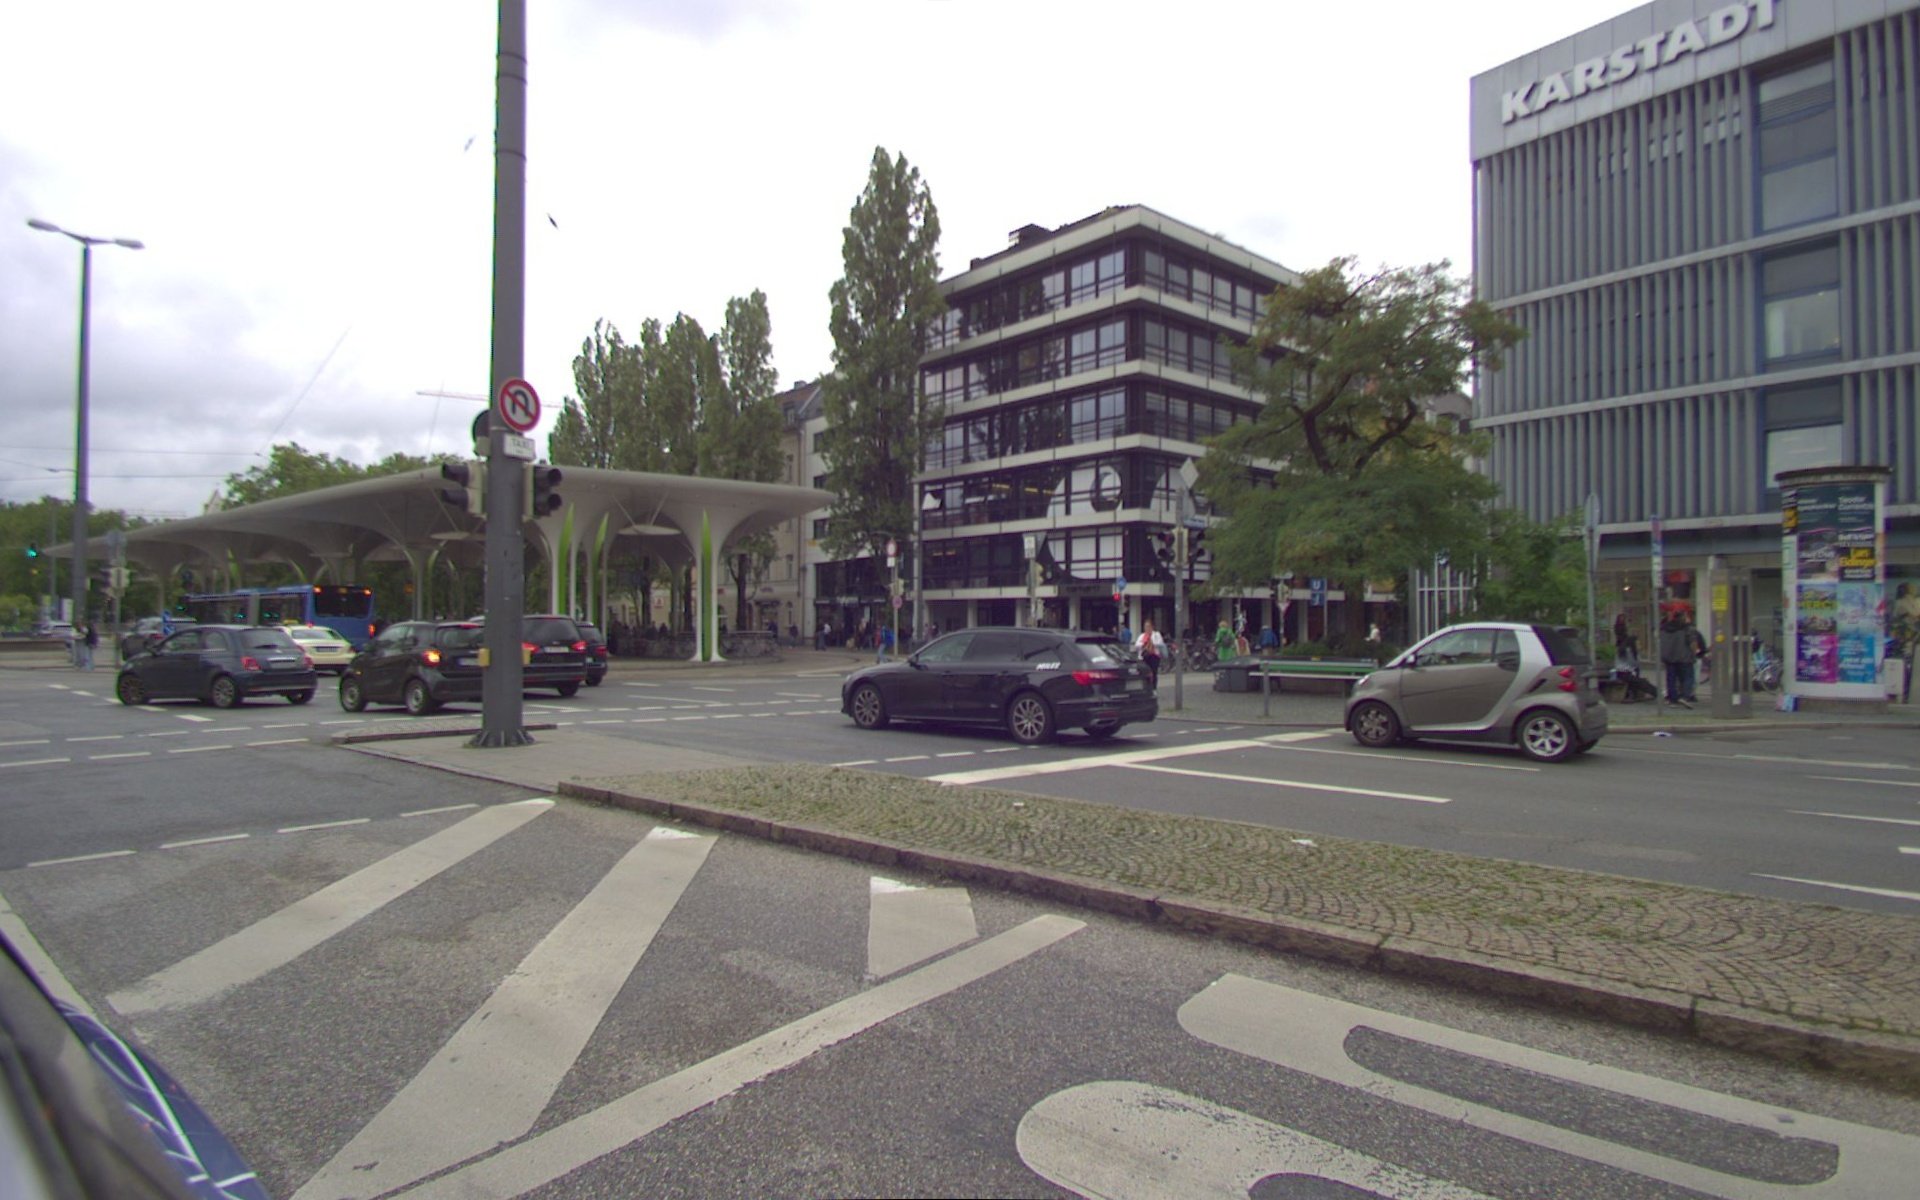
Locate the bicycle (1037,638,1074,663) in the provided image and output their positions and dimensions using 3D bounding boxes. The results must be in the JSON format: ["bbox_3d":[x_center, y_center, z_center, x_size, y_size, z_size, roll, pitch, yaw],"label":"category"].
[{"bbox_3d":[4.520,2.367,47.717,2.044,1.142,0.561,2,-2,-45],"label":"bicycle"}]

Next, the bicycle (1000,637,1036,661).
[{"bbox_3d":[2.865,2.386,49.647,2.044,1.142,0.561,2,-2,-45],"label":"bicycle"}]

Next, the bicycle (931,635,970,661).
[{"bbox_3d":[-0.415,2.071,43.944,1.660,1.106,0.470,-1,-2,16],"label":"bicycle"}]

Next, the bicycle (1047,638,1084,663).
[{"bbox_3d":[4.948,2.362,47.290,2.044,1.142,0.561,2,-2,-45],"label":"bicycle"}]

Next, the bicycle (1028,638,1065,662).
[{"bbox_3d":[4.140,2.371,48.191,2.044,1.142,0.561,2,-2,-45],"label":"bicycle"}]

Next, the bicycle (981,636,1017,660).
[{"bbox_3d":[1.974,2.397,50.532,2.044,1.142,0.561,2,-2,-45],"label":"bicycle"}]

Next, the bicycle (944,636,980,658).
[{"bbox_3d":[0.101,2.419,52.301,2.044,1.142,0.561,2,-2,-45],"label":"bicycle"}]

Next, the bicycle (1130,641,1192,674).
[{"bbox_3d":[6.391,1.832,32.261,1.924,1.006,0.503,-2,-2,41],"label":"bicycle"}]

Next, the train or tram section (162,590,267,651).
[{"bbox_3d":[-39.501,1.135,53.566,7.401,3.024,2.804,-2,-2,40],"label":"train or tram section"}]

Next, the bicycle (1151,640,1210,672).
[{"bbox_3d":[7.371,1.864,33.887,1.924,1.006,0.503,-2,-2,41],"label":"bicycle"}]

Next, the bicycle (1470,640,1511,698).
[{"bbox_3d":[9.835,1.256,18.745,0.419,1.024,1.282,-2,-3,38],"label":"bicycle"}]

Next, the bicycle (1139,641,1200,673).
[{"bbox_3d":[6.775,1.827,32.757,1.924,1.006,0.503,-2,-2,41],"label":"bicycle"}]

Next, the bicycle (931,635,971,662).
[{"bbox_3d":[-0.393,2.071,43.229,1.660,1.106,0.470,-1,-2,16],"label":"bicycle"}]

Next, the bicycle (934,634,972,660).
[{"bbox_3d":[-0.314,2.085,44.888,1.655,1.106,0.472,0,-2,7],"label":"bicycle"}]

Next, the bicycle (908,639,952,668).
[{"bbox_3d":[-1.179,2.084,39.540,1.660,1.106,0.470,-1,-2,16],"label":"bicycle"}]

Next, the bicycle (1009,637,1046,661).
[{"bbox_3d":[3.283,2.381,49.192,2.044,1.142,0.561,2,-2,-45],"label":"bicycle"}]

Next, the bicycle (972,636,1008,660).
[{"bbox_3d":[1.538,2.402,50.952,2.044,1.142,0.561,2,-2,-45],"label":"bicycle"}]

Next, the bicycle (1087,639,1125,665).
[{"bbox_3d":[6.595,2.342,45.703,2.044,1.142,0.561,2,-2,-45],"label":"bicycle"}]

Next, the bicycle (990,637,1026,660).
[{"bbox_3d":[2.390,2.392,50.120,2.044,1.142,0.561,2,-2,-45],"label":"bicycle"}]

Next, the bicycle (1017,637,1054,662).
[{"bbox_3d":[3.626,2.377,48.681,2.044,1.142,0.561,2,-2,-45],"label":"bicycle"}]

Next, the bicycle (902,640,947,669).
[{"bbox_3d":[-1.370,2.087,38.758,1.660,1.106,0.470,-1,-2,16],"label":"bicycle"}]

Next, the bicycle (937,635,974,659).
[{"bbox_3d":[-0.206,2.137,46.155,1.655,1.106,0.472,0,-2,7],"label":"bicycle"}]

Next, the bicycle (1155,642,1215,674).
[{"bbox_3d":[7.320,1.865,33.000,1.924,1.006,0.503,-2,-2,41],"label":"bicycle"}]

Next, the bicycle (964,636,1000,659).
[{"bbox_3d":[1.110,2.407,51.394,2.044,1.142,0.561,2,-2,-45],"label":"bicycle"}]

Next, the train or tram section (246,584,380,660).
[{"bbox_3d":[-28.199,0.993,43.980,7.401,3.024,2.804,-2,-2,40],"label":"train or tram section"}]

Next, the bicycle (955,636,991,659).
[{"bbox_3d":[0.653,2.413,51.813,2.044,1.142,0.561,2,-2,-45],"label":"bicycle"}]

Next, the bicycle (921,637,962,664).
[{"bbox_3d":[-0.771,2.077,41.871,1.660,1.106,0.470,-1,-2,16],"label":"bicycle"}]

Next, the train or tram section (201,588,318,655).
[{"bbox_3d":[-33.846,1.065,48.786,7.401,3.024,2.804,-2,-2,40],"label":"train or tram section"}]

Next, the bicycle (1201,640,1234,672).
[{"bbox_3d":[8.508,1.850,33.536,0.503,1.006,1.926,0,-2,-3],"label":"bicycle"}]

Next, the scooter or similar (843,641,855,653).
[{"bbox_3d":[-7.120,3.019,64.937,0.511,0.720,0.681,1,-2,-39],"label":"scooter or similar"}]

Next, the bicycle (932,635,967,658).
[{"bbox_3d":[-0.531,2.427,52.856,2.044,1.142,0.561,2,-2,-45],"label":"bicycle"}]
